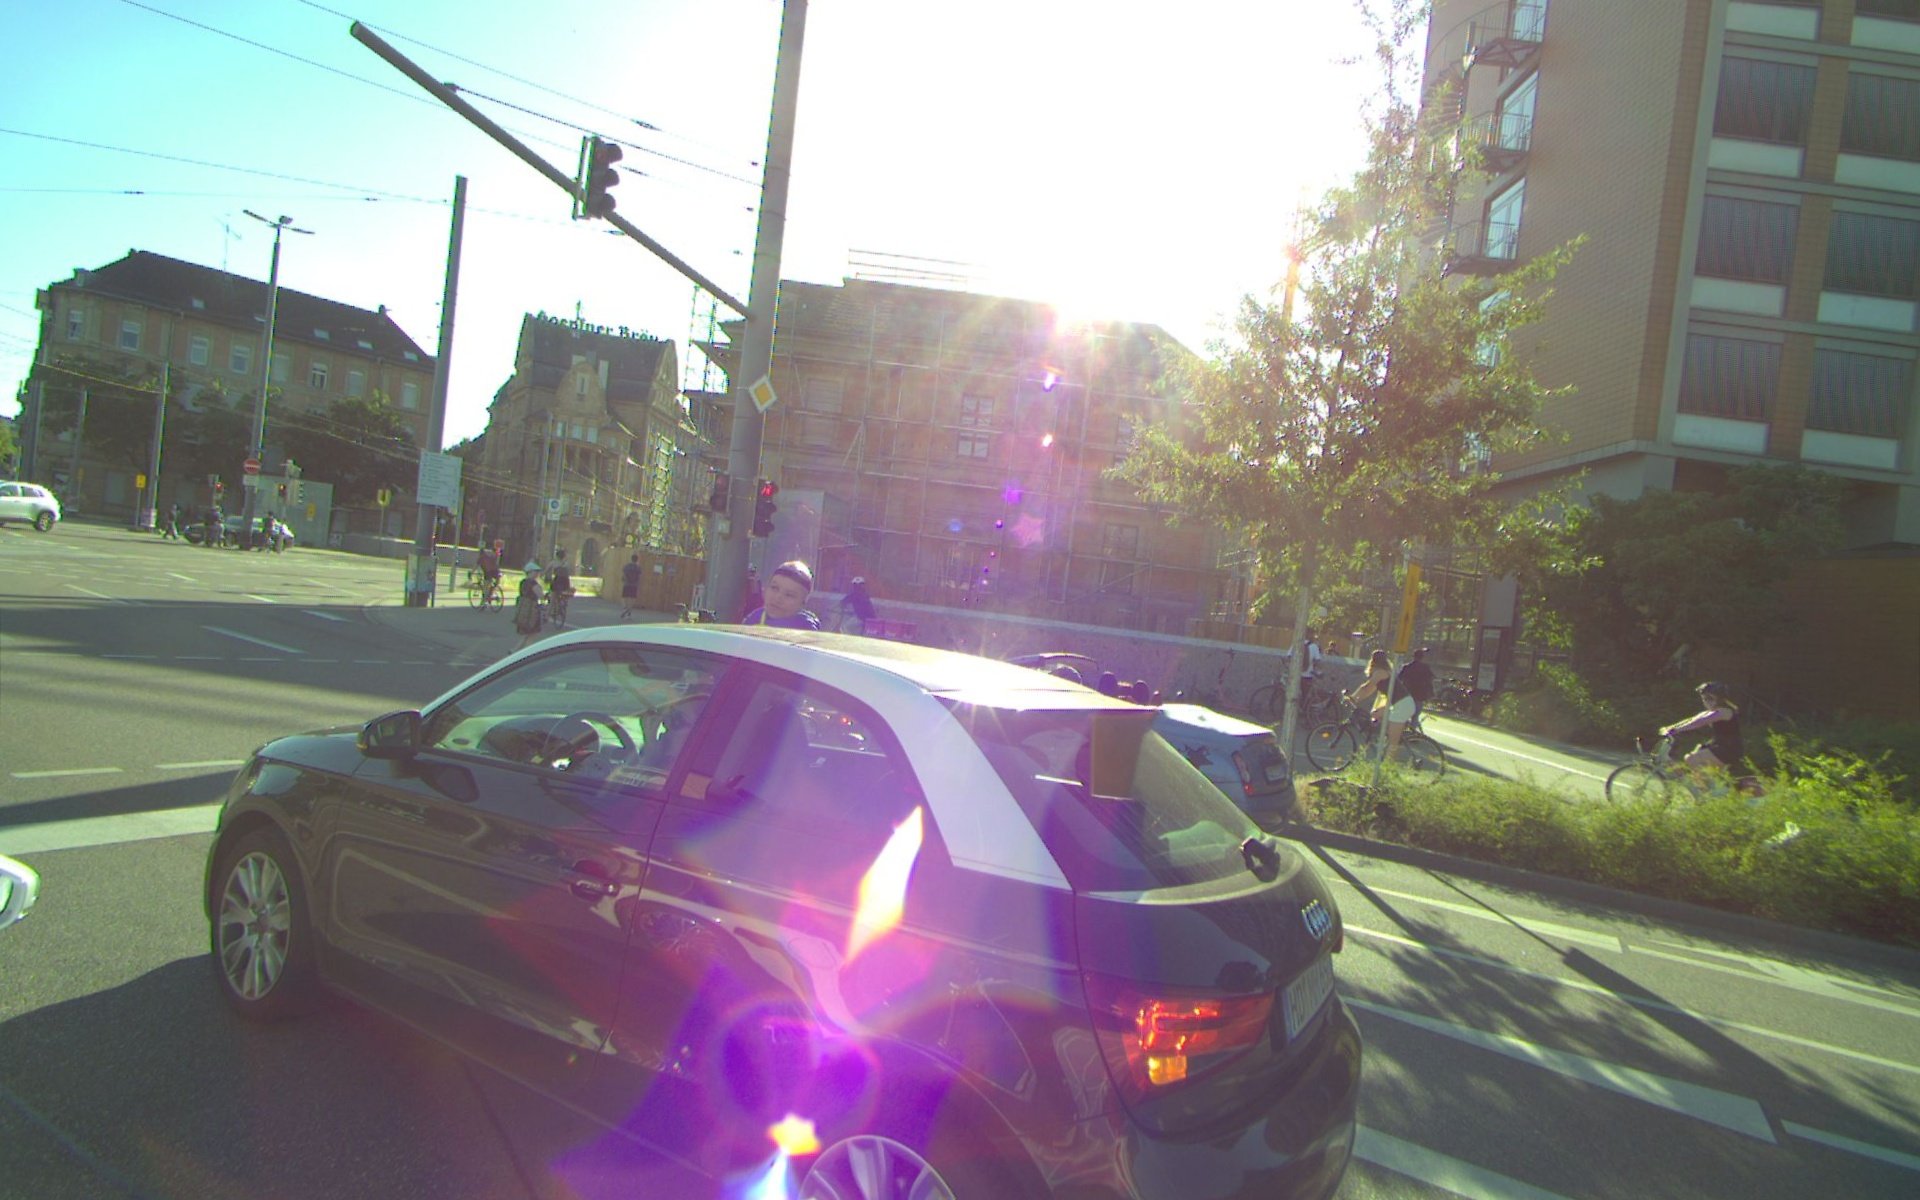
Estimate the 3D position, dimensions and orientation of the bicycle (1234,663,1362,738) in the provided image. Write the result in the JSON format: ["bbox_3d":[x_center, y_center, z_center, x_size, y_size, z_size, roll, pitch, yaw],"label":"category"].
[{"bbox_3d":[6.016,1.764,17.981,1.935,1.052,0.788,6,2,40],"label":"bicycle"}]

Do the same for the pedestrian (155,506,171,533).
[{"bbox_3d":[-42.819,-4.311,54.032,0.591,1.356,0.423,7,1,32],"label":"pedestrian"}]

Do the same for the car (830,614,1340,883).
[{"bbox_3d":[0.999,1.128,8.785,3.915,1.461,1.803,7,-2,35],"label":"car"}]

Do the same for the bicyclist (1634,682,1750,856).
[{"bbox_3d":[8.407,1.911,11.598,0.835,1.809,0.717,6,-1,29],"label":"bicyclist"}]

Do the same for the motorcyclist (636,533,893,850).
[{"bbox_3d":[-1.207,0.546,6.359,0.921,1.742,1.097,6,-1,33],"label":"motorcyclist"}]

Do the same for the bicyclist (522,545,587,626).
[{"bbox_3d":[-9.140,-0.326,22.665,1.074,1.700,0.778,7,3,30],"label":"bicyclist"}]

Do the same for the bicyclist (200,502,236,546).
[{"bbox_3d":[-31.307,-3.191,42.433,0.846,1.711,0.650,8,1,-10],"label":"bicyclist"}]

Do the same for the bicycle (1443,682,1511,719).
[{"bbox_3d":[15.327,2.982,29.842,1.623,0.868,0.529,7,1,1],"label":"bicycle"}]

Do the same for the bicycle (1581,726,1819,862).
[{"bbox_3d":[8.409,2.170,11.563,2.031,1.134,0.719,6,-1,30],"label":"bicycle"}]

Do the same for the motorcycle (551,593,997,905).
[{"bbox_3d":[-1.228,0.812,6.351,2.610,1.394,1.097,6,-1,33],"label":"motorcycle"}]

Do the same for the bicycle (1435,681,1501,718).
[{"bbox_3d":[15.335,3.000,30.403,1.623,0.868,0.529,7,1,1],"label":"bicycle"}]

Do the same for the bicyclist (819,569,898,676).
[{"bbox_3d":[-1.904,0.422,18.919,1.078,1.856,0.776,7,1,42],"label":"bicyclist"}]

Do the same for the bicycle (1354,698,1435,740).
[{"bbox_3d":[8.270,2.262,19.201,1.332,0.547,0.430,7,2,18],"label":"bicycle"}]

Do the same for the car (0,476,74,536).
[{"bbox_3d":[-33.493,-3.383,34.562,1.919,1.821,4.847,7,0,-4],"label":"car"}]

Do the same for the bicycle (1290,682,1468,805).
[{"bbox_3d":[5.234,1.753,12.594,1.837,1.135,0.718,9,1,32],"label":"bicycle"}]

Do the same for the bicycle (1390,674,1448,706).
[{"bbox_3d":[15.509,3.030,33.983,1.623,0.868,0.529,7,1,1],"label":"bicycle"}]

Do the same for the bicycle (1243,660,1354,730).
[{"bbox_3d":[6.363,1.775,19.019,0.621,1.052,1.946,4,1,-33],"label":"bicycle"}]

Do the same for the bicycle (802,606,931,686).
[{"bbox_3d":[-1.784,0.838,18.790,2.545,1.170,0.776,7,1,42],"label":"bicycle"}]

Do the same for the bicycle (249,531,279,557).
[{"bbox_3d":[-30.581,-2.473,44.198,0.854,0.916,2.278,8,0,-38],"label":"bicycle"}]

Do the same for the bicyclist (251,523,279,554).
[{"bbox_3d":[-30.453,-2.698,44.079,0.854,1.191,0.707,8,1,-39],"label":"bicyclist"}]

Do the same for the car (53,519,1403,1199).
[{"bbox_3d":[-0.823,0.738,3.261,3.909,1.461,1.806,7,-1,28],"label":"car"}]

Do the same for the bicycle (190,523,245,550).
[{"bbox_3d":[-31.385,-2.675,42.559,0.846,0.916,2.299,9,0,-10],"label":"bicycle"}]

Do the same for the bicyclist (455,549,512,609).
[{"bbox_3d":[-12.076,-0.531,25.507,1.058,1.401,0.721,5,-1,32],"label":"bicyclist"}]

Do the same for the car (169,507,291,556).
[{"bbox_3d":[-33.596,-3.094,46.473,1.915,1.582,4.360,9,0,8],"label":"car"}]

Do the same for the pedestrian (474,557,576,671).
[{"bbox_3d":[-6.721,0.237,15.581,0.686,1.626,1.096,9,1,21],"label":"pedestrian"}]

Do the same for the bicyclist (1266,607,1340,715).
[{"bbox_3d":[6.112,1.070,17.921,0.881,1.810,0.785,6,2,40],"label":"bicyclist"}]

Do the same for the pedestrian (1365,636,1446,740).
[{"bbox_3d":[7.863,1.545,17.775,0.797,1.677,0.787,8,-1,-21],"label":"pedestrian"}]

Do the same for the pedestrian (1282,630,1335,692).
[{"bbox_3d":[12.422,2.163,35.860,0.989,2.039,1.282,6,1,-44],"label":"pedestrian"}]

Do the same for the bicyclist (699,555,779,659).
[{"bbox_3d":[-4.248,0.139,19.382,1.074,1.853,0.779,7,1,26],"label":"bicyclist"}]

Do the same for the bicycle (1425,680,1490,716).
[{"bbox_3d":[15.317,3.002,30.986,1.623,0.868,0.529,7,1,1],"label":"bicycle"}]

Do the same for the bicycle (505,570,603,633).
[{"bbox_3d":[-9.173,0.018,22.686,2.252,1.172,0.778,7,3,30],"label":"bicycle"}]

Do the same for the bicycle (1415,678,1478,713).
[{"bbox_3d":[15.270,2.994,31.611,1.623,0.868,0.529,7,1,1],"label":"bicycle"}]

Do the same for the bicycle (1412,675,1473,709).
[{"bbox_3d":[15.636,2.991,32.608,1.623,0.868,0.529,7,1,1],"label":"bicycle"}]

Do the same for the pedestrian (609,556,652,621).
[{"bbox_3d":[-9.041,-0.308,27.614,0.818,1.693,0.695,7,2,43],"label":"pedestrian"}]

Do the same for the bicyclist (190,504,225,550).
[{"bbox_3d":[-31.235,-3.019,41.785,0.852,1.800,0.583,6,1,-10],"label":"bicyclist"}]

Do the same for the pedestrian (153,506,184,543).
[{"bbox_3d":[-40.017,-3.820,50.877,0.770,1.697,0.925,7,1,31],"label":"pedestrian"}]

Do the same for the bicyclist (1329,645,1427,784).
[{"bbox_3d":[5.246,1.420,12.611,0.835,1.568,0.716,9,1,31],"label":"bicyclist"}]

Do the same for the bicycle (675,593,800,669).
[{"bbox_3d":[-4.301,0.595,19.384,2.250,1.170,0.779,7,1,26],"label":"bicycle"}]

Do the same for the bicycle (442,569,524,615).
[{"bbox_3d":[-12.116,-0.209,25.509,2.212,0.964,0.721,5,-1,32],"label":"bicycle"}]
